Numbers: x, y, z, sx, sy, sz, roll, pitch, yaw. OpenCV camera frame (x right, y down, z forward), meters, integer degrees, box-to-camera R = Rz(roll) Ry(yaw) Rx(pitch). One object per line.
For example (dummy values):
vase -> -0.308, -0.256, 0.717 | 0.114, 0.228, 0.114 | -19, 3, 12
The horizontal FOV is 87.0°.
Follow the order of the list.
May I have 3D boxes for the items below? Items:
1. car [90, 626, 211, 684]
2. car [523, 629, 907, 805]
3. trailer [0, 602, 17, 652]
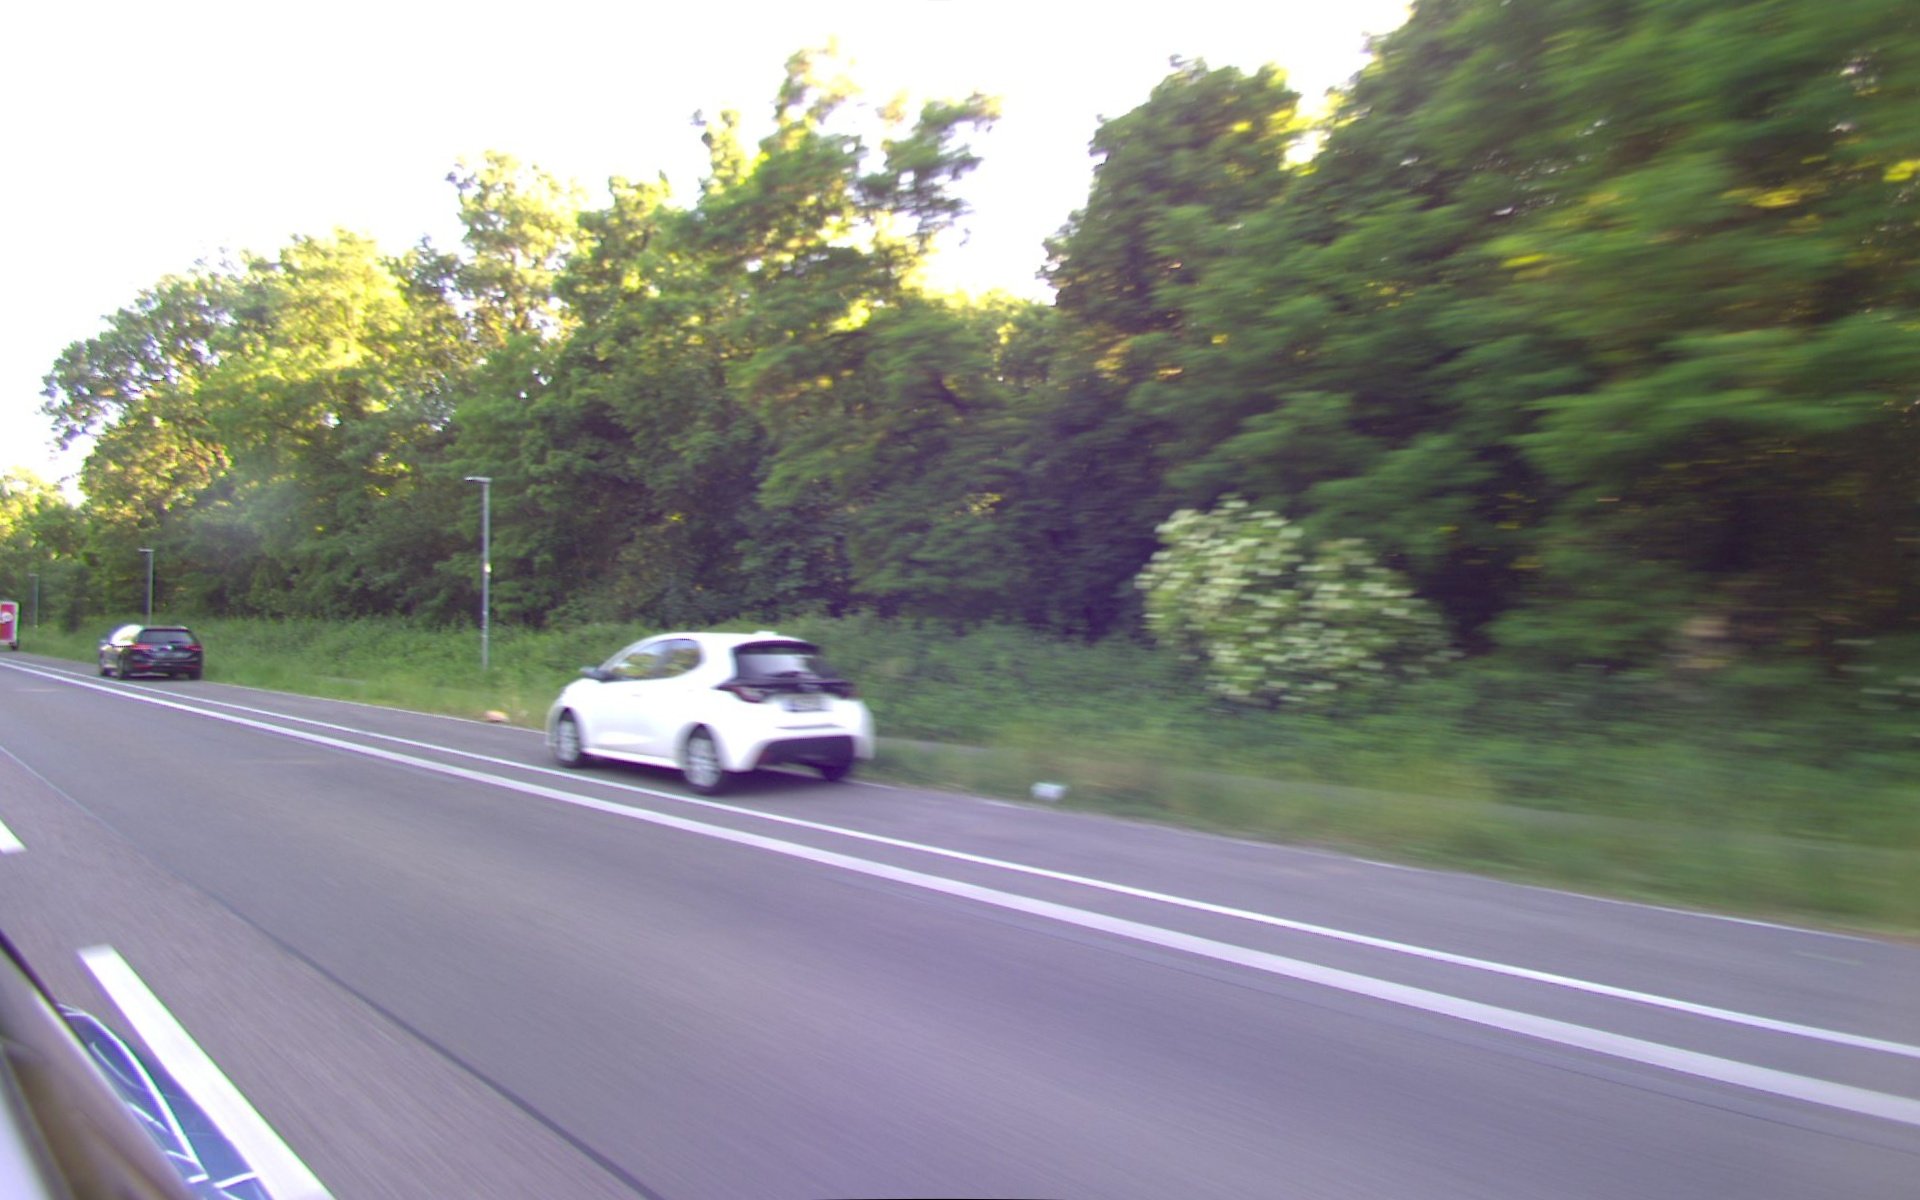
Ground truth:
car -> -22.645, 1.458, 28.247 | 4.782, 1.475, 1.835 | -1, -2, 41
car -> -2.665, 1.074, 10.530 | 4.069, 1.461, 1.847 | -1, -4, 41
trailer -> -52.158, 1.438, 54.196 | 4.084, 2.641, 1.973 | -1, -2, 41
